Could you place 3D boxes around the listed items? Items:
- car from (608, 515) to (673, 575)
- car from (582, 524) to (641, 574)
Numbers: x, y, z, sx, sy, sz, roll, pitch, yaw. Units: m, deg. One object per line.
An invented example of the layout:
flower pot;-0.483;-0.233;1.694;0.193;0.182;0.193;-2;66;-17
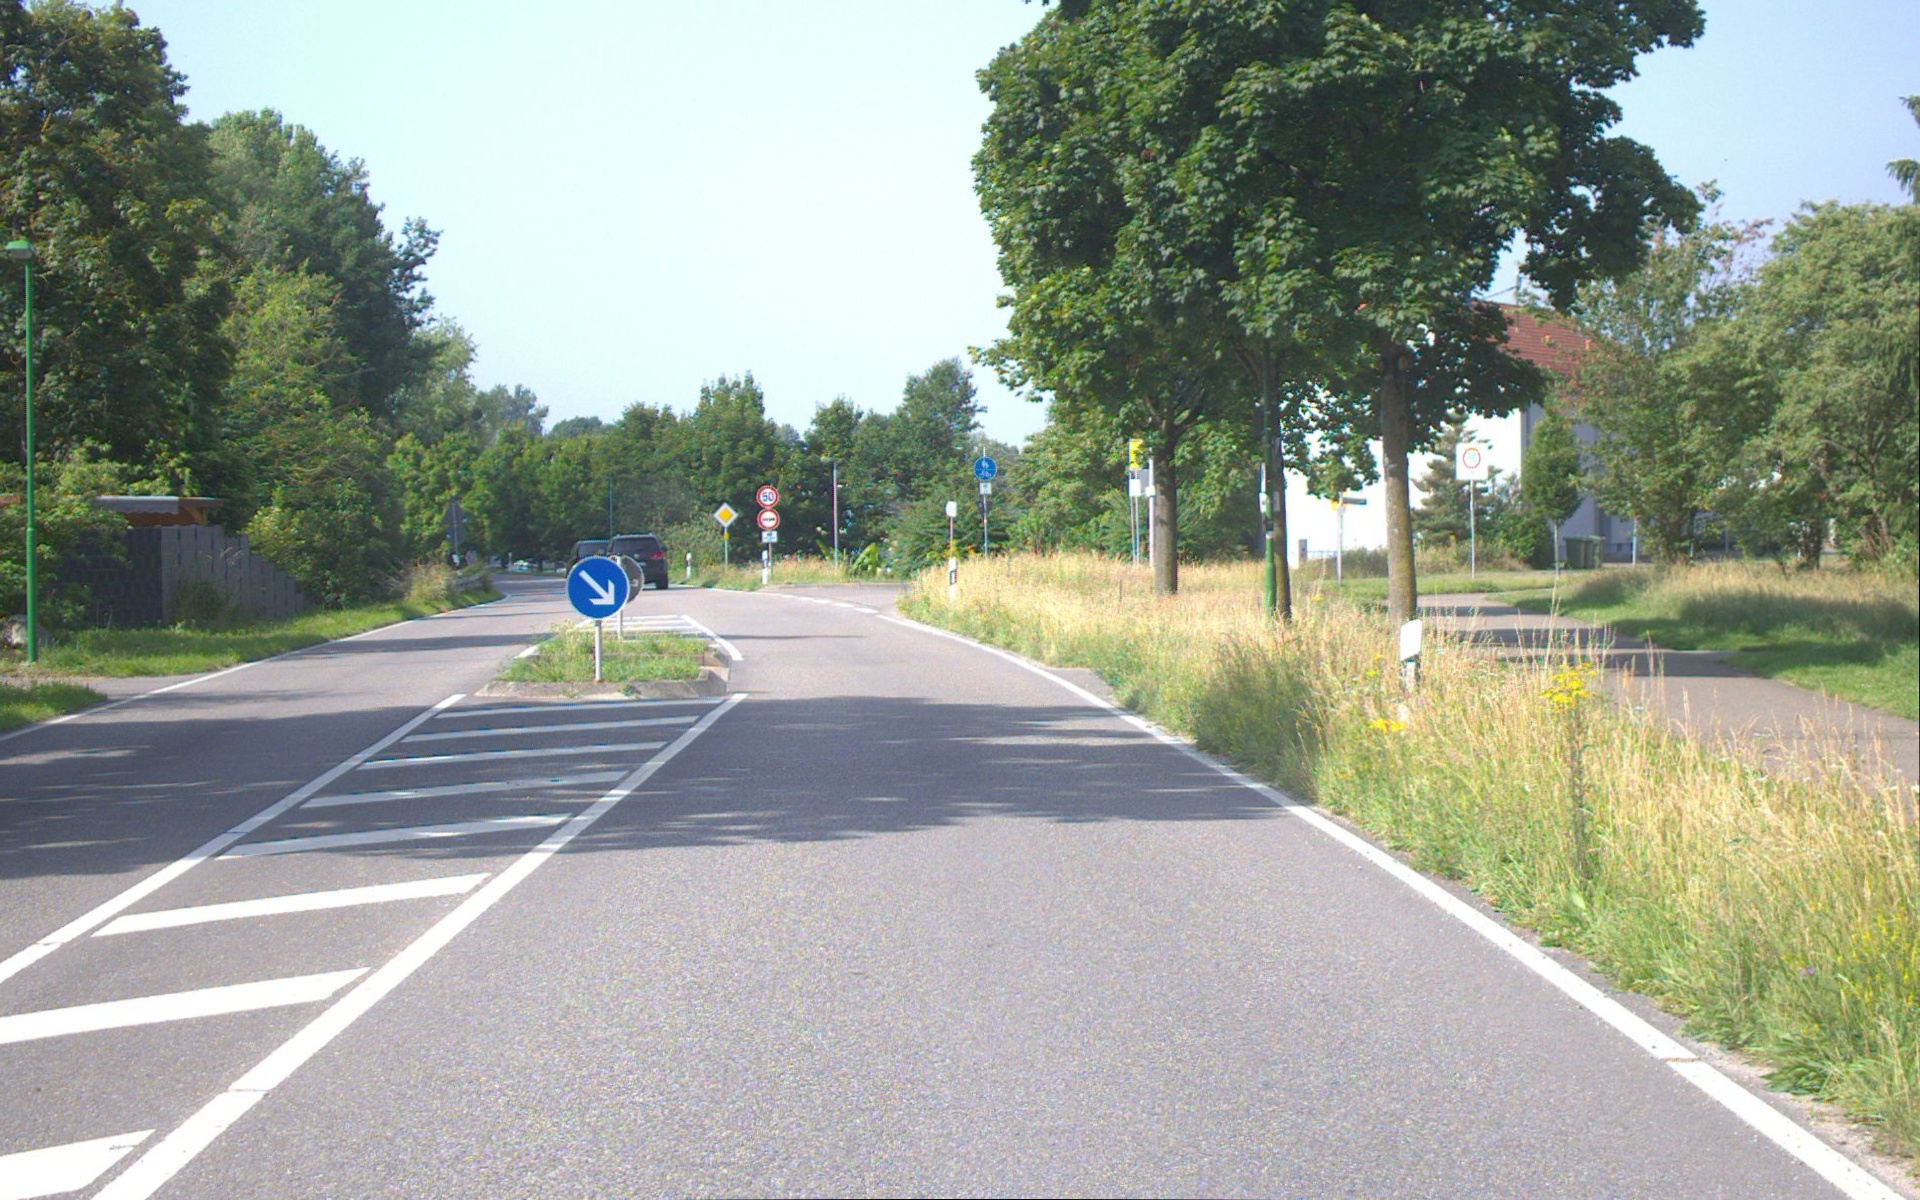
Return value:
car;-9.827;-1.706;105.418;1.925;1.765;4.001;-1;2;-6
car;-12.679;-1.867;124.802;2.003;1.765;4.001;-1;2;-7
